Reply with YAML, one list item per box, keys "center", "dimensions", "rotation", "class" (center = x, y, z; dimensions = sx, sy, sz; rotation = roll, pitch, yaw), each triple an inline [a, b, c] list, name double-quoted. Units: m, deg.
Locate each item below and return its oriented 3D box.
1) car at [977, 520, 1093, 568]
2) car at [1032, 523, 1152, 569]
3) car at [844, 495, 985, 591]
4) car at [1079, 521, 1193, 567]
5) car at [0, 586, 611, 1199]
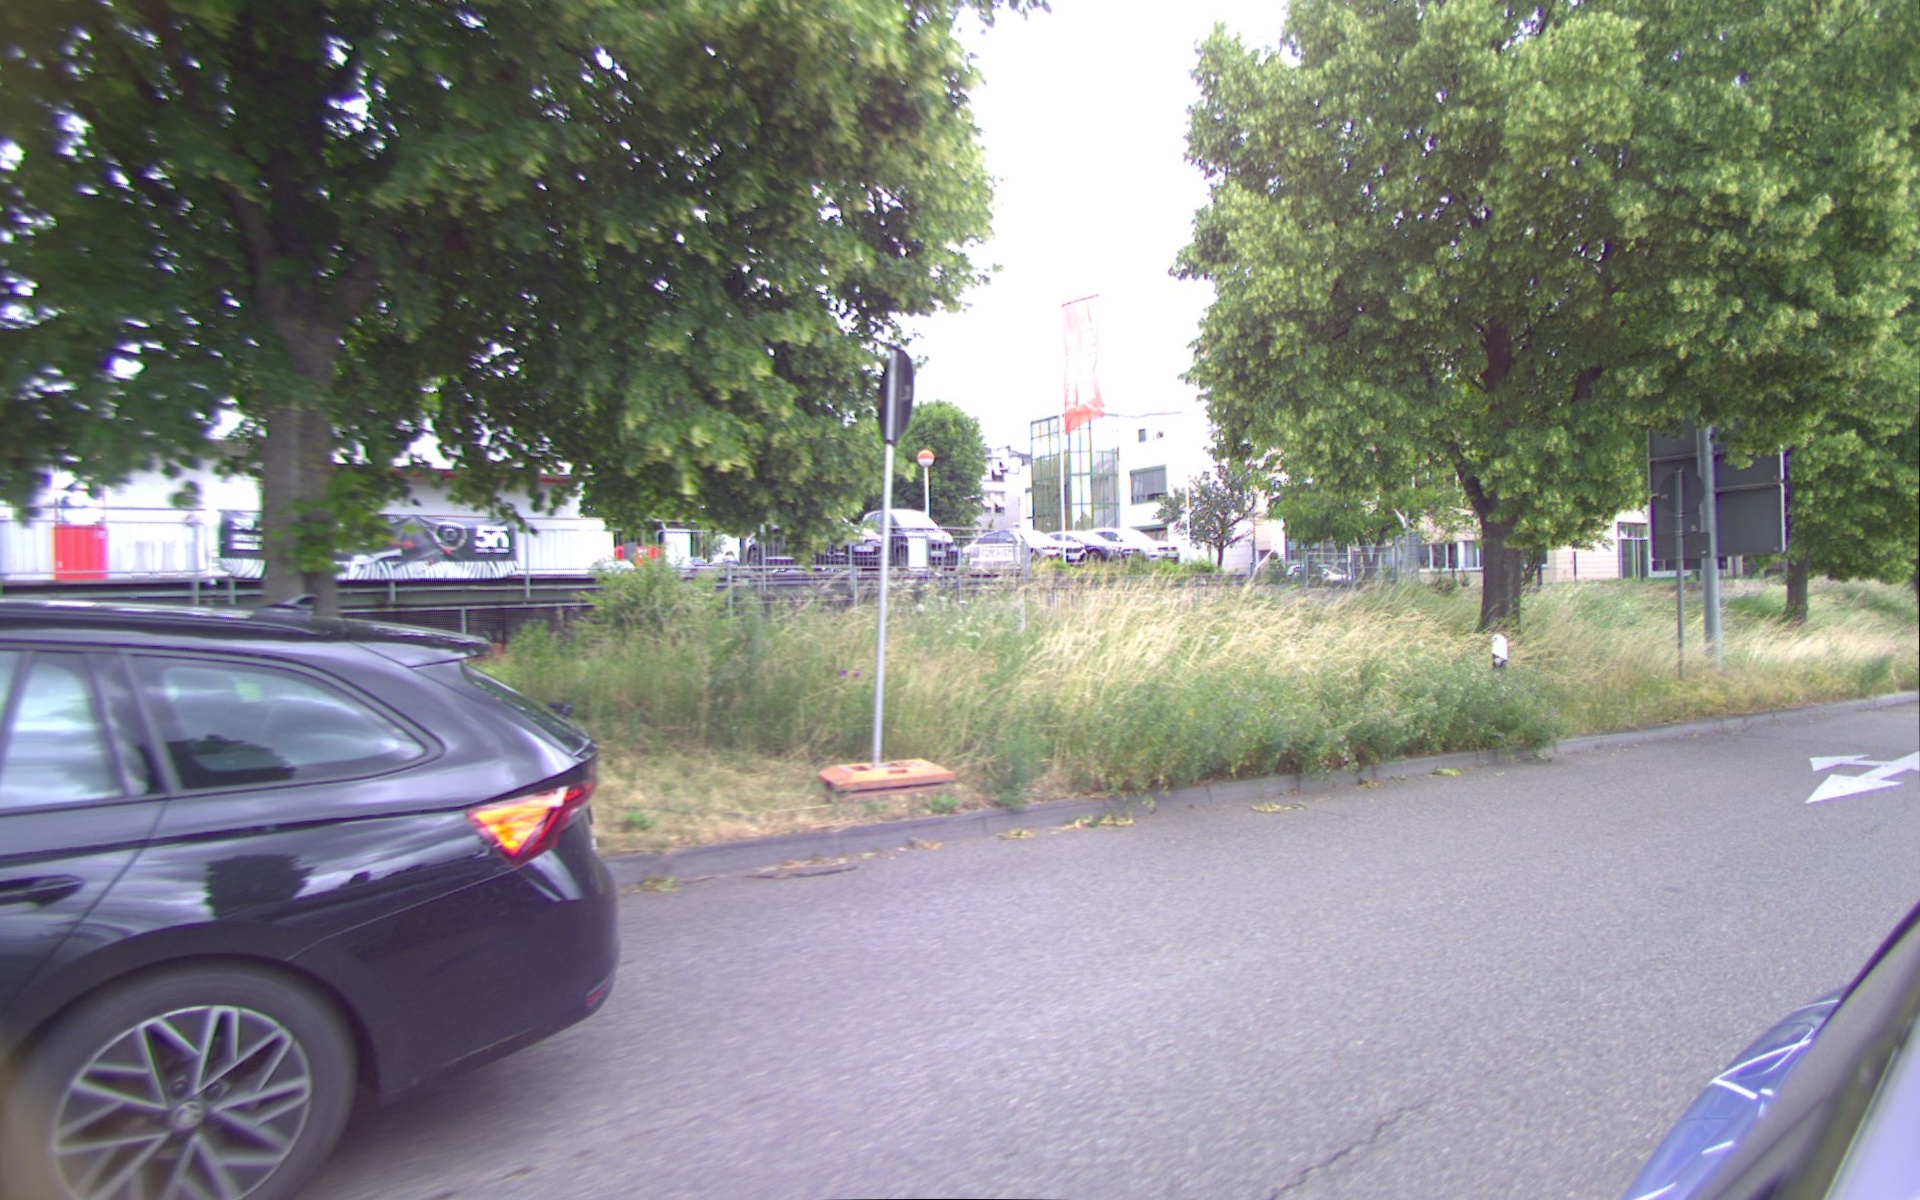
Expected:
- center: [2.342, -1.734, 32.305]
  dimensions: [1.722, 1.381, 3.768]
  rotation: [0, 1, -34]
  class: "car"
- center: [4.289, -1.729, 33.426]
  dimensions: [1.722, 1.385, 3.940]
  rotation: [0, 1, -34]
  class: "car"
- center: [-1.163, -1.255, 24.136]
  dimensions: [1.611, 1.984, 3.767]
  rotation: [1, -2, -34]
  class: "car"
- center: [6.145, -1.927, 35.718]
  dimensions: [1.722, 1.501, 3.940]
  rotation: [0, 1, -34]
  class: "car"
- center: [-3.179, 0.697, 2.276]
  dimensions: [4.196, 1.450, 1.842]
  rotation: [0, 1, -34]
  class: "car"
